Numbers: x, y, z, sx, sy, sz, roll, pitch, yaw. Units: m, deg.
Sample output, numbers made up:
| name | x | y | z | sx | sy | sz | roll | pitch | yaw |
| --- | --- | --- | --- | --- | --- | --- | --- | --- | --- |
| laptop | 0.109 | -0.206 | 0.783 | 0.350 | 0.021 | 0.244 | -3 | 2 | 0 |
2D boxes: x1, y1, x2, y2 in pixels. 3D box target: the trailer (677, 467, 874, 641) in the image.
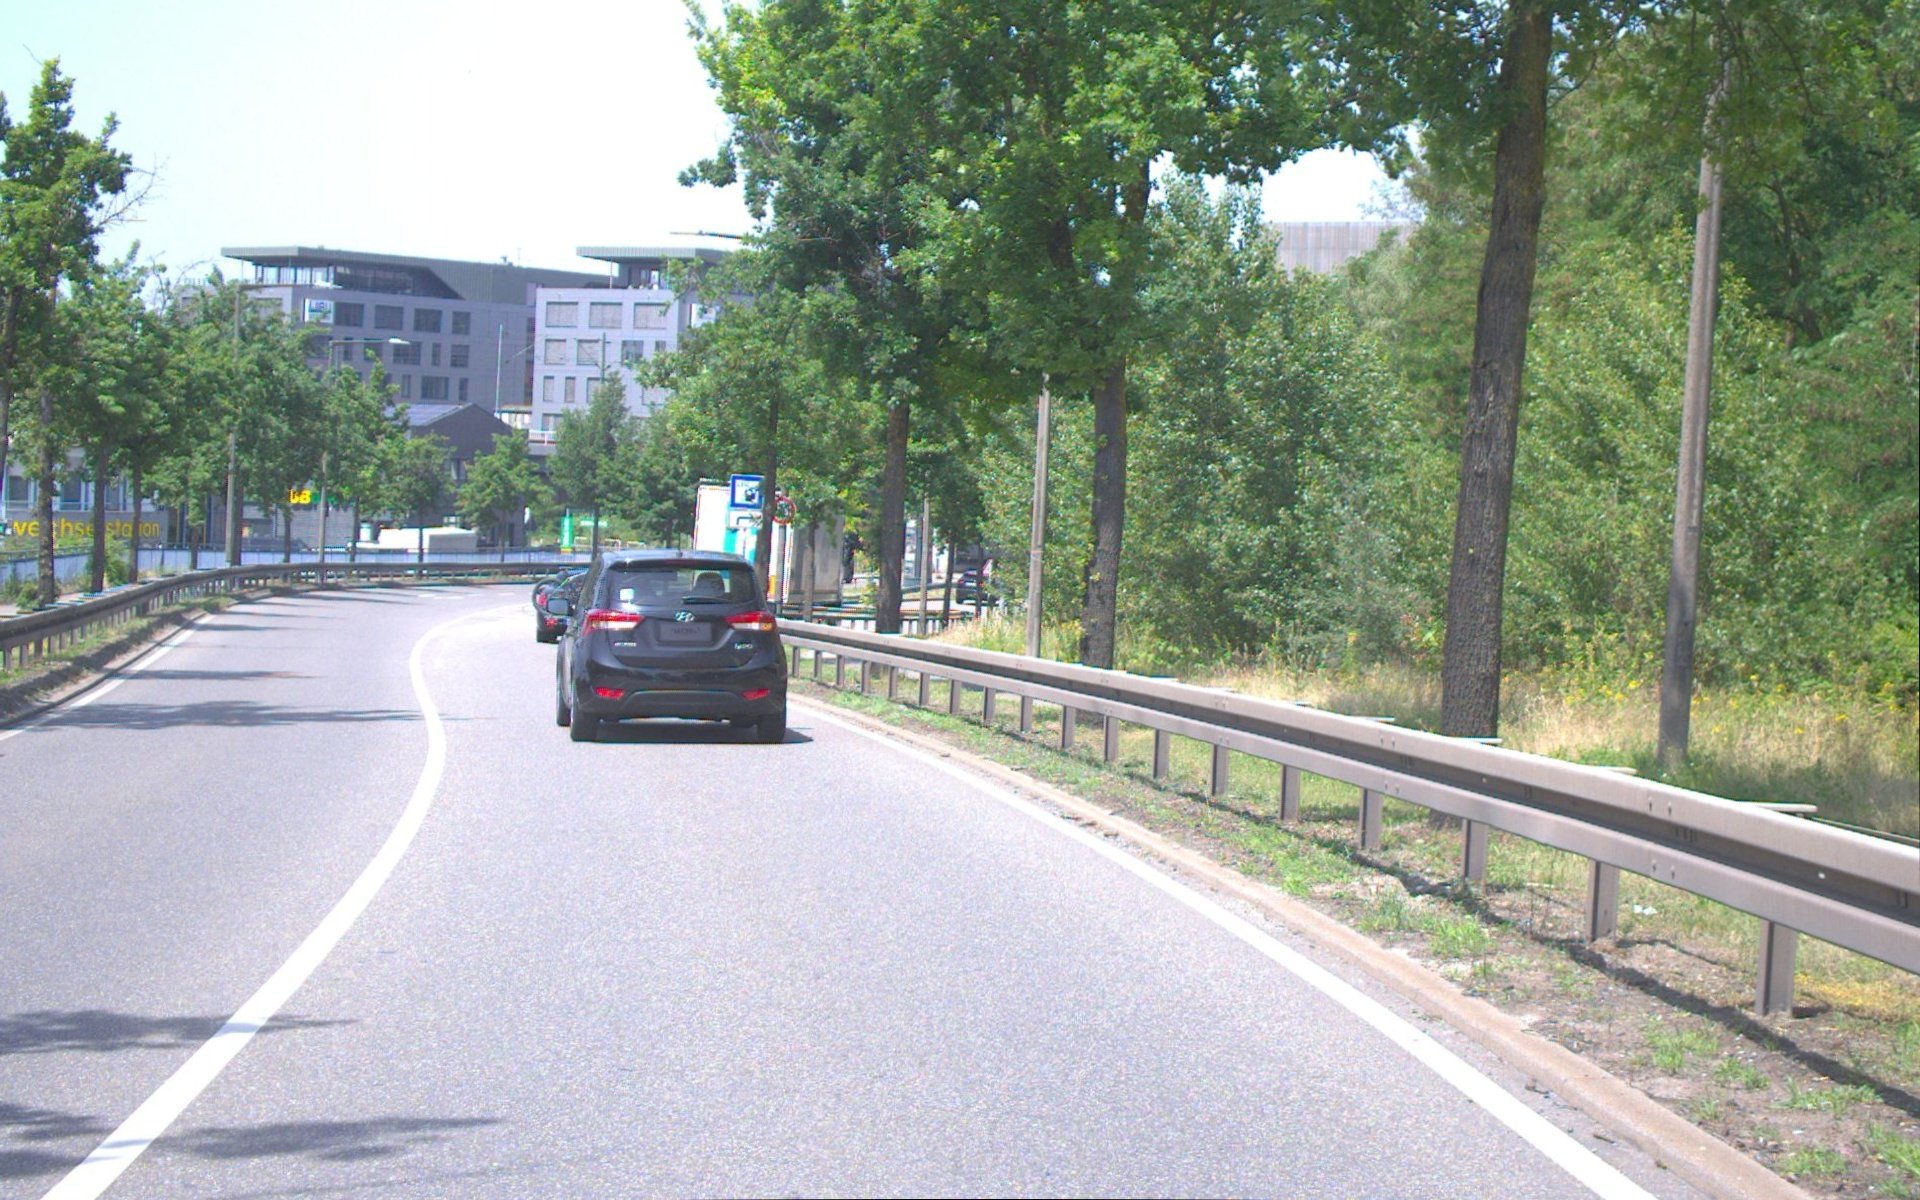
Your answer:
| name | x | y | z | sx | sy | sz | roll | pitch | yaw |
| --- | --- | --- | --- | --- | --- | --- | --- | --- | --- |
| trailer | -4.954 | -1.402 | 96.017 | 3.079 | 4.353 | 14.772 | 3 | 2 | 6 |

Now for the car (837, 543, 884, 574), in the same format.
| name | x | y | z | sx | sy | sz | roll | pitch | yaw |
| --- | --- | --- | --- | --- | --- | --- | --- | --- | --- |
| car | -6.077 | -2.548 | 210.803 | 1.808 | 1.753 | 4.250 | 4 | 0 | 12 |

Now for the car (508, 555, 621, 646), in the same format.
| name | x | y | z | sx | sy | sz | roll | pitch | yaw |
| --- | --- | --- | --- | --- | --- | --- | --- | --- | --- |
| car | -7.569 | -0.018 | 66.138 | 1.956 | 1.628 | 4.281 | 2 | 0 | -4 |

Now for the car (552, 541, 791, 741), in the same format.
| name | x | y | z | sx | sy | sz | roll | pitch | yaw |
| --- | --- | --- | --- | --- | --- | --- | --- | --- | --- |
| car | -2.542 | 0.294 | 29.509 | 1.766 | 1.593 | 4.078 | 0 | 1 | -9 |
